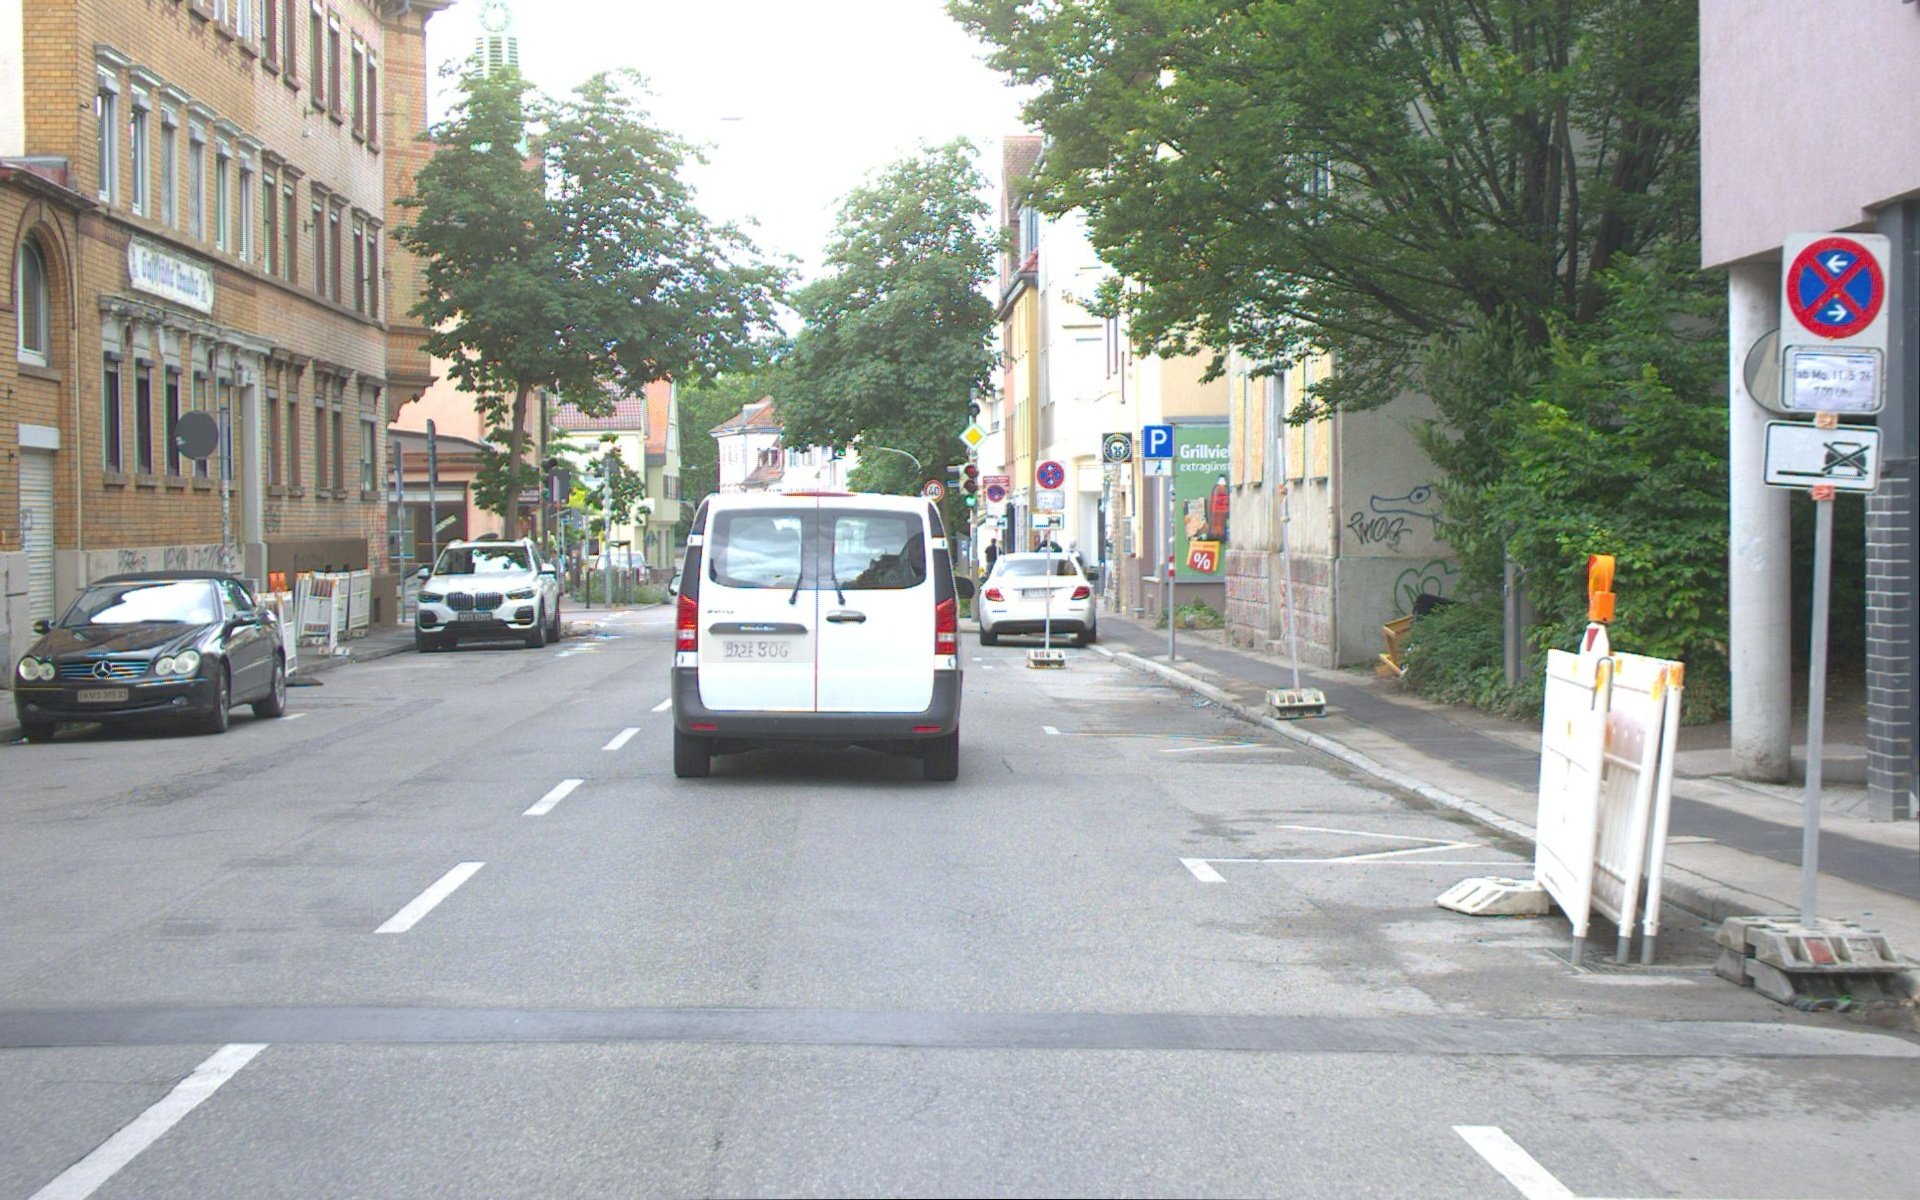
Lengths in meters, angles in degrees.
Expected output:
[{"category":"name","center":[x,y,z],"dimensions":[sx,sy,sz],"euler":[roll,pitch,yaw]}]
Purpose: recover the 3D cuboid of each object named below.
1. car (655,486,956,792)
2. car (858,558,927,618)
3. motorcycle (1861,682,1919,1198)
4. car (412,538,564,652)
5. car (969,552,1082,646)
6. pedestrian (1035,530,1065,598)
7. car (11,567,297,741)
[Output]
[{"category":"car","center":[-1.052,0.220,23.528],"dimensions":[1.872,1.905,4.000],"euler":[0,1,-2]},{"category":"car","center":[-2.072,-0.367,104.547],"dimensions":[1.819,1.775,4.404],"euler":[0,0,-5]},{"category":"motorcycle","center":[2.660,0.838,7.574],"dimensions":[0.646,1.222,2.337],"euler":[1,1,-2]},{"category":"car","center":[-7.590,-0.112,55.671],"dimensions":[1.891,1.706,4.741],"euler":[-2,1,-2]},{"category":"car","center":[1.059,-0.046,56.001],"dimensions":[1.767,1.461,4.783],"euler":[0,1,1]},{"category":"pedestrian","center":[2.222,-0.898,84.522],"dimensions":[0.614,1.647,0.983],"euler":[1,1,-4]},{"category":"car","center":[-7.124,0.425,30.771],"dimensions":[1.578,1.378,4.355],"euler":[-2,1,-1]}]
